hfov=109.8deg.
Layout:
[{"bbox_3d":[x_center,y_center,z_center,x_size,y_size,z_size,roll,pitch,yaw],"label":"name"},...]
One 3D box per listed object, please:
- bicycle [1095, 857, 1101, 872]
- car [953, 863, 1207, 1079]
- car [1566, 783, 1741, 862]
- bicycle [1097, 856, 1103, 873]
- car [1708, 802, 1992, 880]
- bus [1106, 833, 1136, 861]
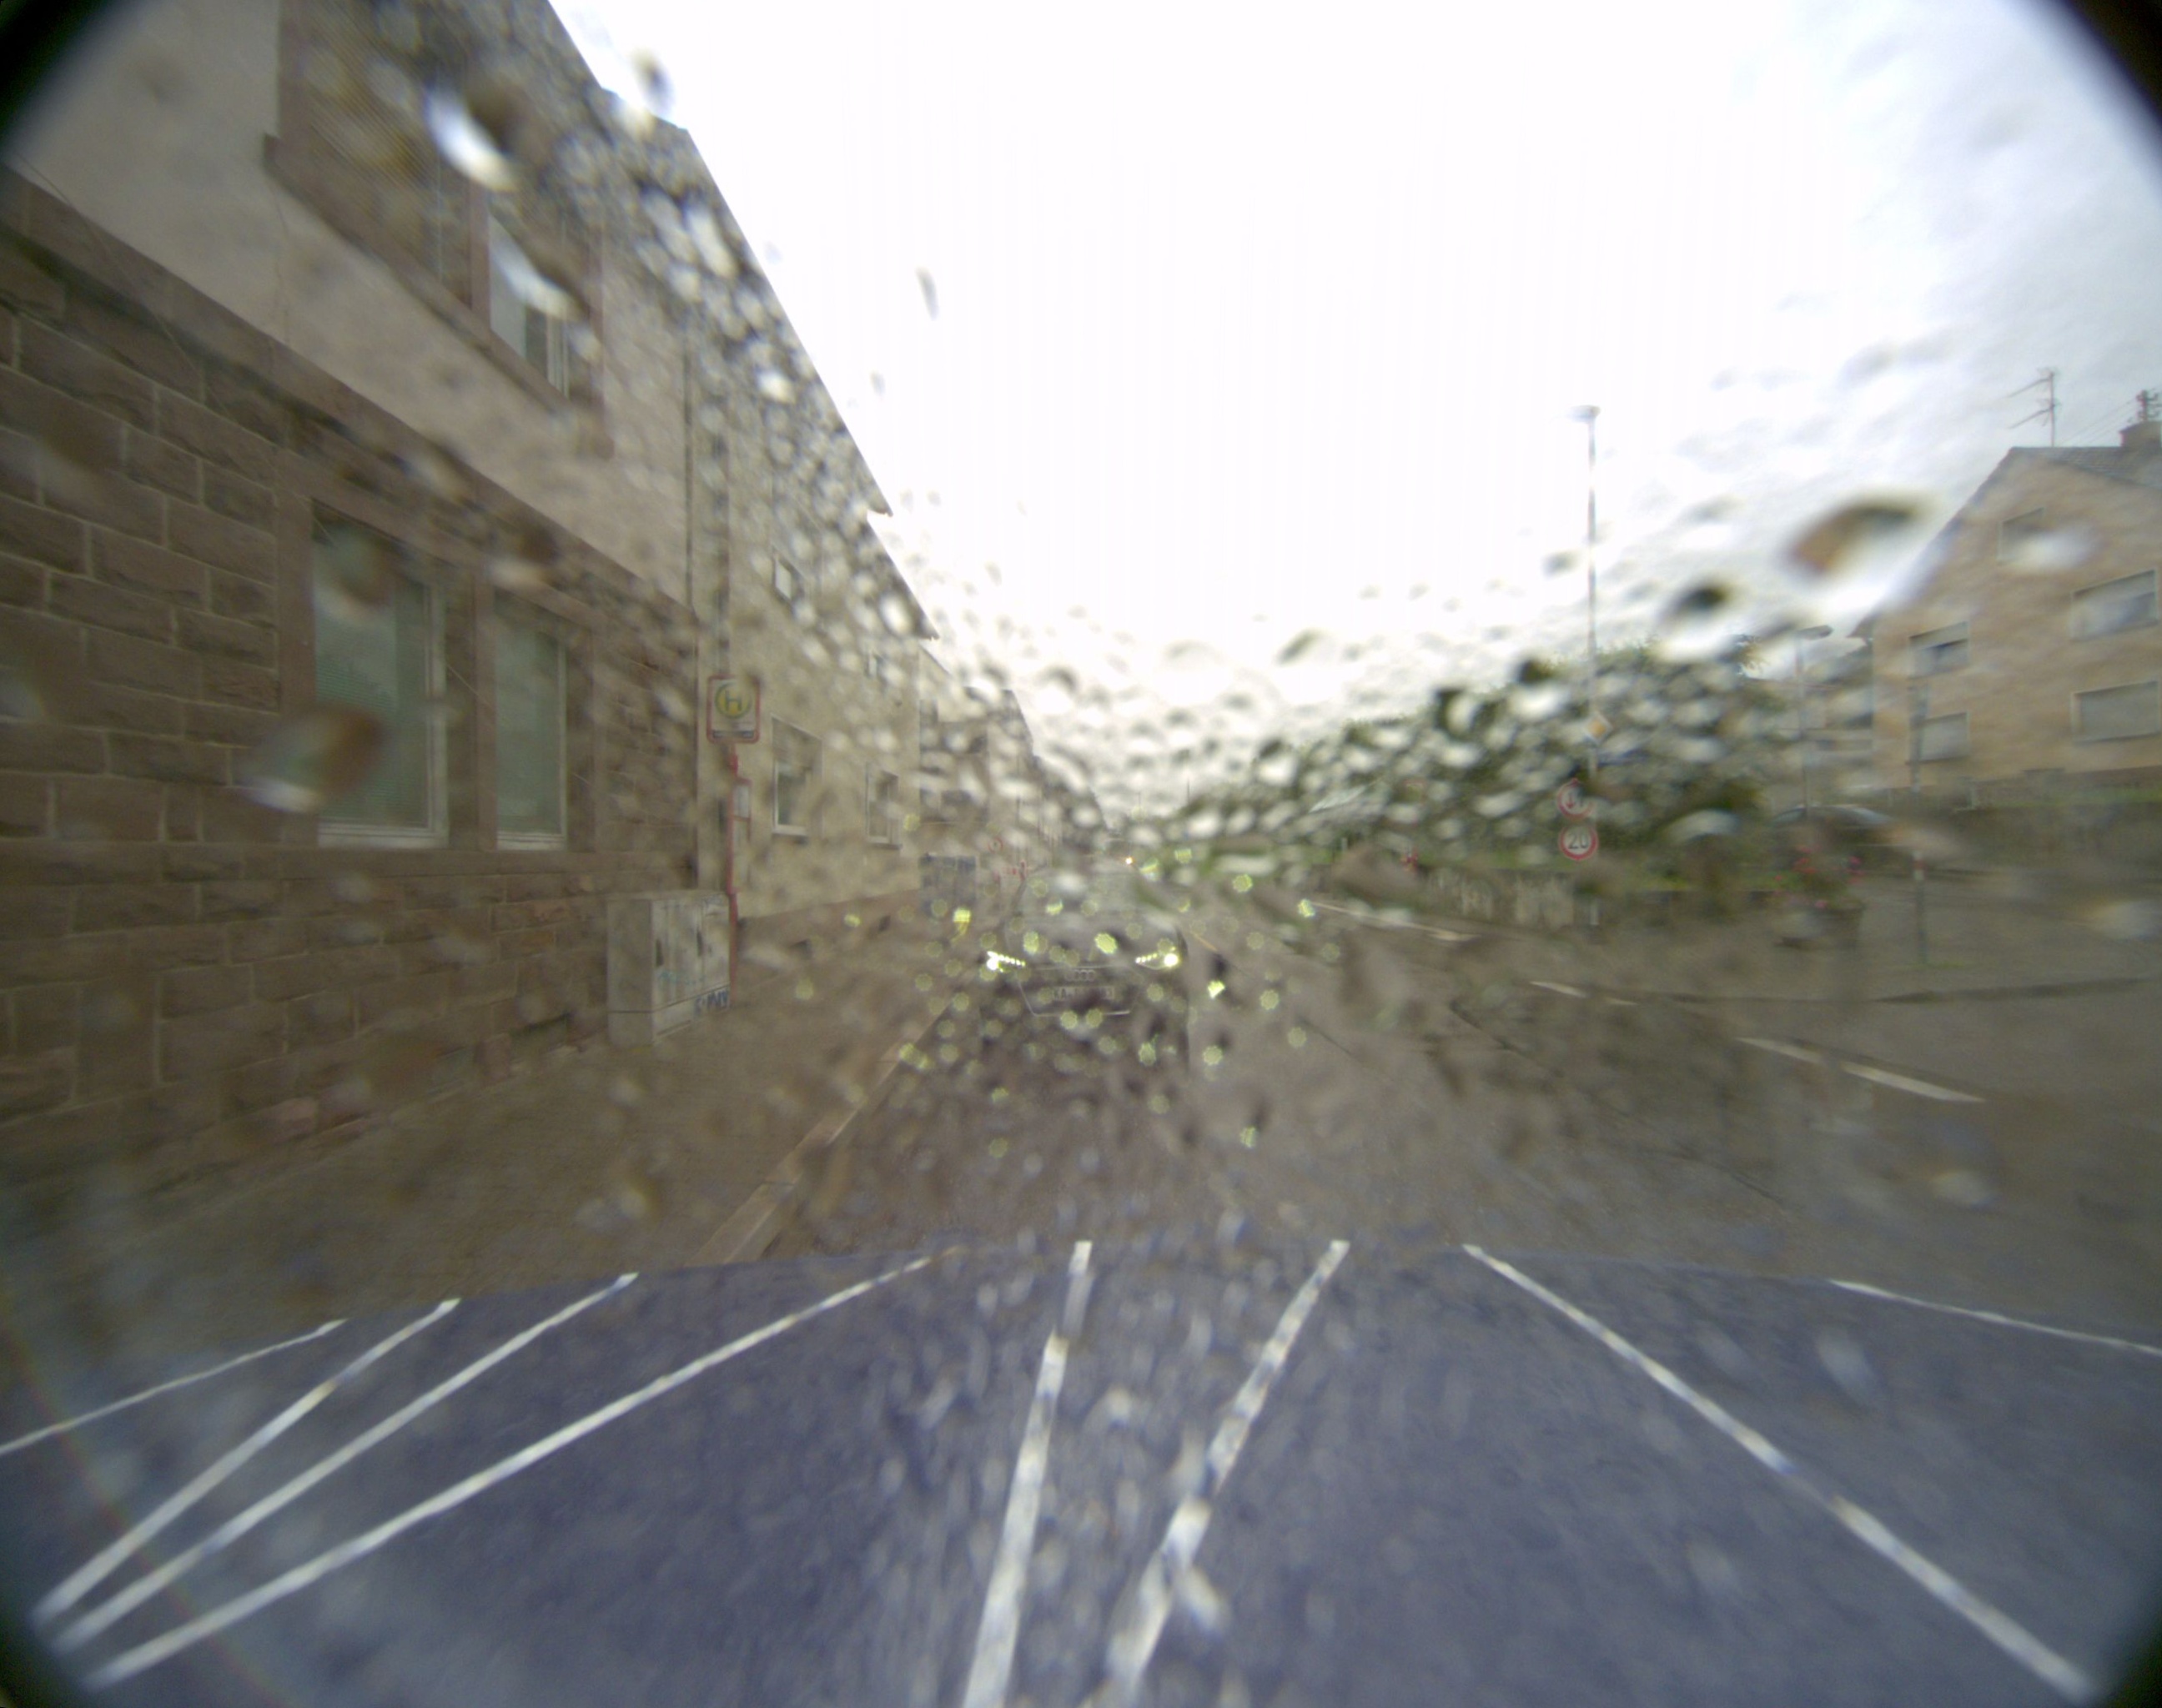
[{"bbox_3d":[1.249,0.739,54.999,0.407,1.023,1.221,1,1,2],"label":"bicycle"},{"bbox_3d":[0.025,0.888,7.864,1.851,1.444,4.531,1,1,1],"label":"car"},{"bbox_3d":[16.226,-0.927,21.871,1.788,1.994,4.317,-2,3,0],"label":"car"},{"bbox_3d":[1.300,0.721,52.762,0.407,1.137,1.221,1,1,2],"label":"bicycle"},{"bbox_3d":[15.932,-0.350,16.140,1.749,1.382,4.220,-2,3,0],"label":"car"},{"bbox_3d":[4.598,-0.868,89.843,2.685,2.988,14.542,1,1,0],"label":"bus"}]
